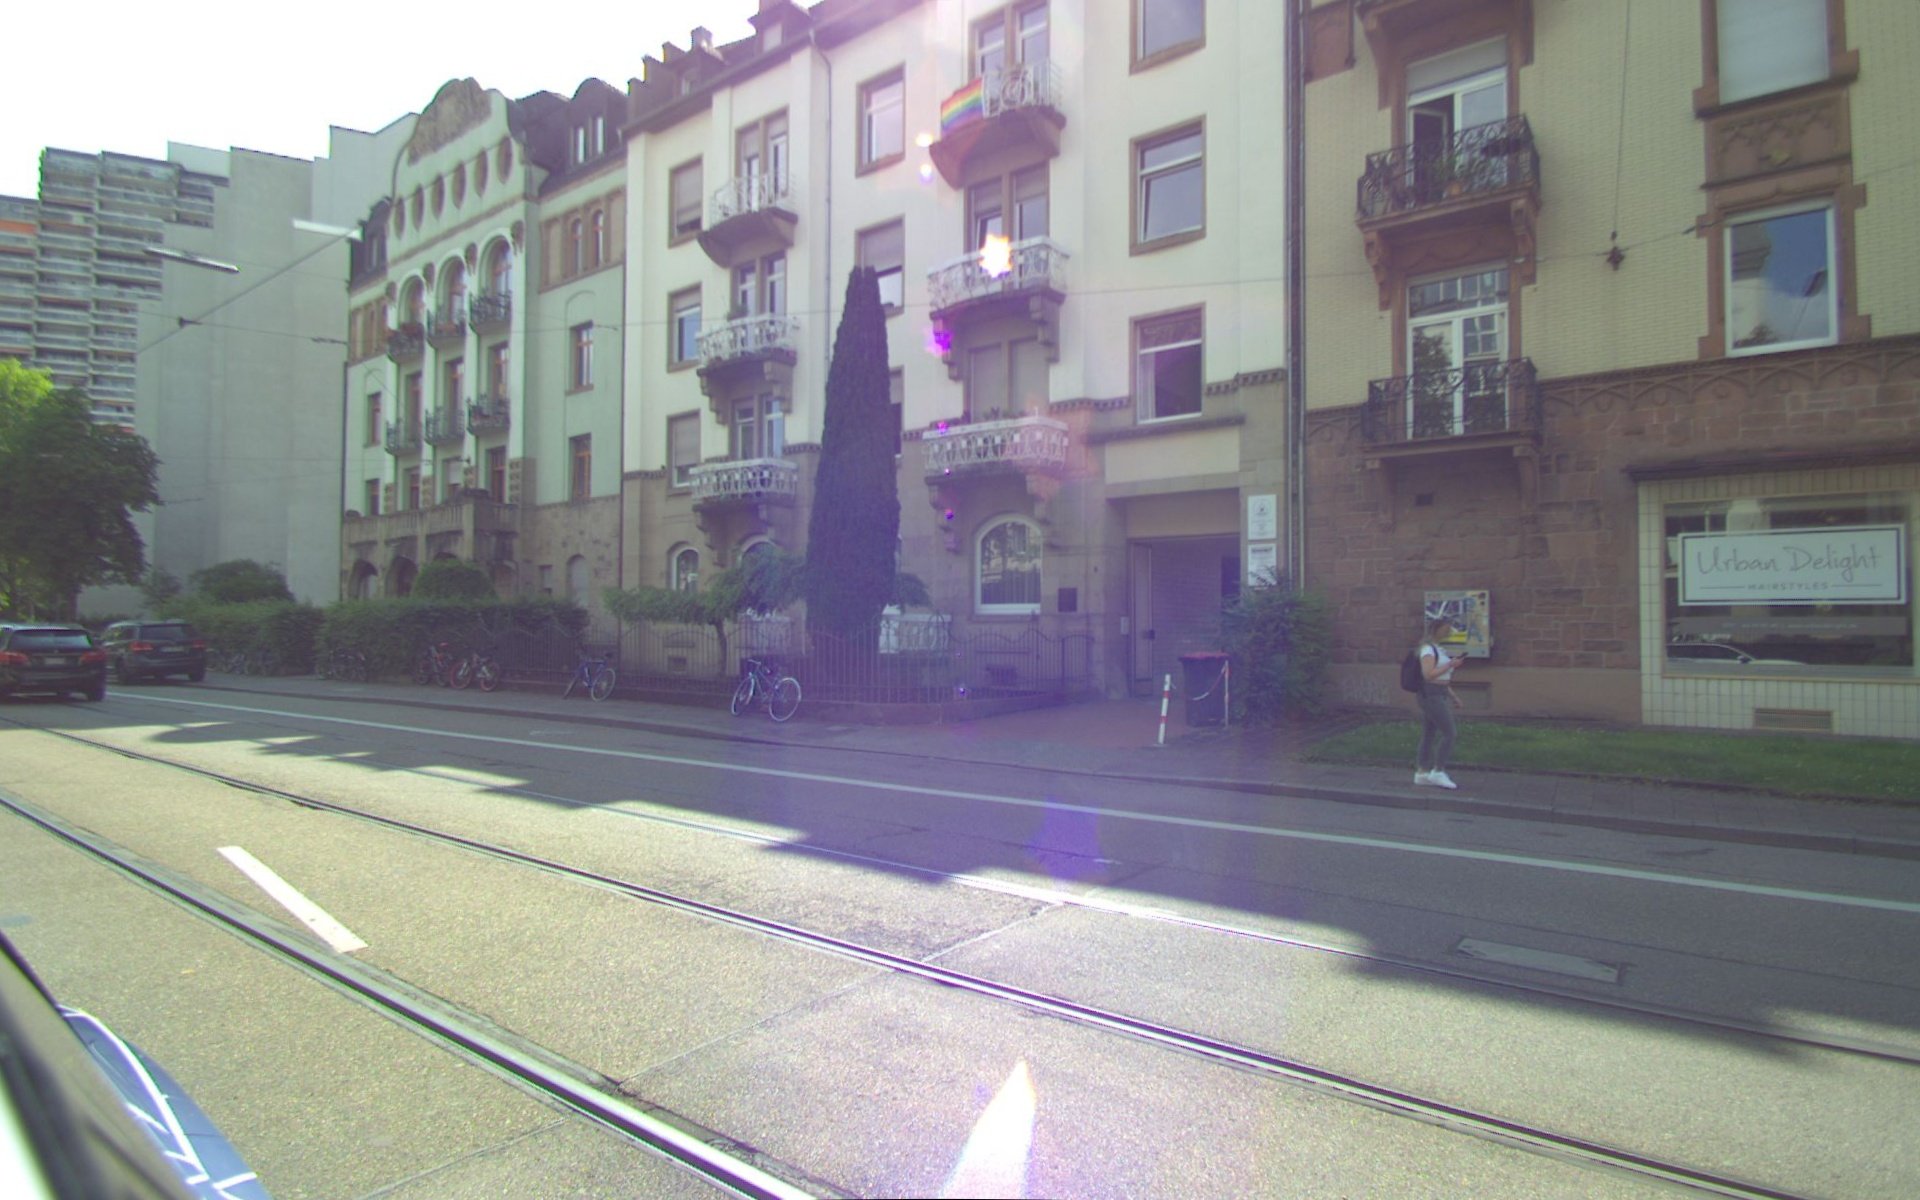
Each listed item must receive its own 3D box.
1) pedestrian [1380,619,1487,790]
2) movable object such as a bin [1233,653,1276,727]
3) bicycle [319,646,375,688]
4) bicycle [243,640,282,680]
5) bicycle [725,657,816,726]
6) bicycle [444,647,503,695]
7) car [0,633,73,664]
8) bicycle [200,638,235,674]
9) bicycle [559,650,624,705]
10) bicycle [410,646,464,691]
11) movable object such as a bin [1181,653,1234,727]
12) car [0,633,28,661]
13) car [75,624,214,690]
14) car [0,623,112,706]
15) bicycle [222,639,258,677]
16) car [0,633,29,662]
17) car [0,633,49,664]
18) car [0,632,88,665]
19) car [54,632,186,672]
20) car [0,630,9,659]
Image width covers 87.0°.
[{"bbox_3d":[4.570,0.965,9.758,0.764,1.553,0.749,-2,-3,39],"label":"pedestrian"},{"bbox_3d":[4.237,1.286,14.574,0.531,1.037,0.475,0,-2,11],"label":"movable object such as a bin"},{"bbox_3d":[-15.642,1.689,25.806,1.979,1.003,0.597,-2,-3,40],"label":"bicycle"},{"bbox_3d":[-21.008,1.792,30.465,1.785,1.144,0.462,-2,-3,40],"label":"bicycle"},{"bbox_3d":[-3.089,1.447,16.339,0.461,1.003,1.980,2,-3,-43],"label":"bicycle"},{"bbox_3d":[-10.751,1.552,22.334,1.785,1.003,0.462,-2,-3,40],"label":"bicycle"},{"bbox_3d":[-46.470,2.374,49.992,3.938,1.519,2.002,2,-3,-42],"label":"car"},{"bbox_3d":[-24.190,1.805,32.954,1.785,1.144,0.462,-2,-3,40],"label":"bicycle"},{"bbox_3d":[-7.163,1.478,19.639,0.461,1.003,1.788,2,-3,-45],"label":"bicycle"},{"bbox_3d":[-12.231,1.588,23.650,1.785,1.003,0.462,-2,-3,40],"label":"bicycle"},{"bbox_3d":[3.565,1.291,14.613,0.697,1.037,0.475,0,-2,11],"label":"movable object such as a bin"},{"bbox_3d":[-54.036,2.566,55.722,3.938,1.519,2.002,2,-3,-42],"label":"car"},{"bbox_3d":[-22.743,1.533,28.187,4.392,1.708,1.899,-1,-2,36],"label":"car"},{"bbox_3d":[-18.846,1.250,20.416,4.061,1.530,1.740,-1,-2,37],"label":"car"},{"bbox_3d":[-22.534,1.810,31.666,1.785,1.144,0.462,-2,-3,40],"label":"bicycle"},{"bbox_3d":[-51.845,2.492,53.420,3.938,1.519,2.002,2,-3,-42],"label":"car"},{"bbox_3d":[-49.152,2.463,51.640,3.938,1.519,2.002,2,-3,-42],"label":"car"},{"bbox_3d":[-44.013,2.298,48.015,3.938,1.519,2.002,2,-3,-42],"label":"car"},{"bbox_3d":[-33.407,2.026,40.288,3.938,1.519,2.002,2,-3,-42],"label":"car"},{"bbox_3d":[-56.937,2.544,57.667,3.938,1.695,2.002,2,-3,-42],"label":"car"}]
